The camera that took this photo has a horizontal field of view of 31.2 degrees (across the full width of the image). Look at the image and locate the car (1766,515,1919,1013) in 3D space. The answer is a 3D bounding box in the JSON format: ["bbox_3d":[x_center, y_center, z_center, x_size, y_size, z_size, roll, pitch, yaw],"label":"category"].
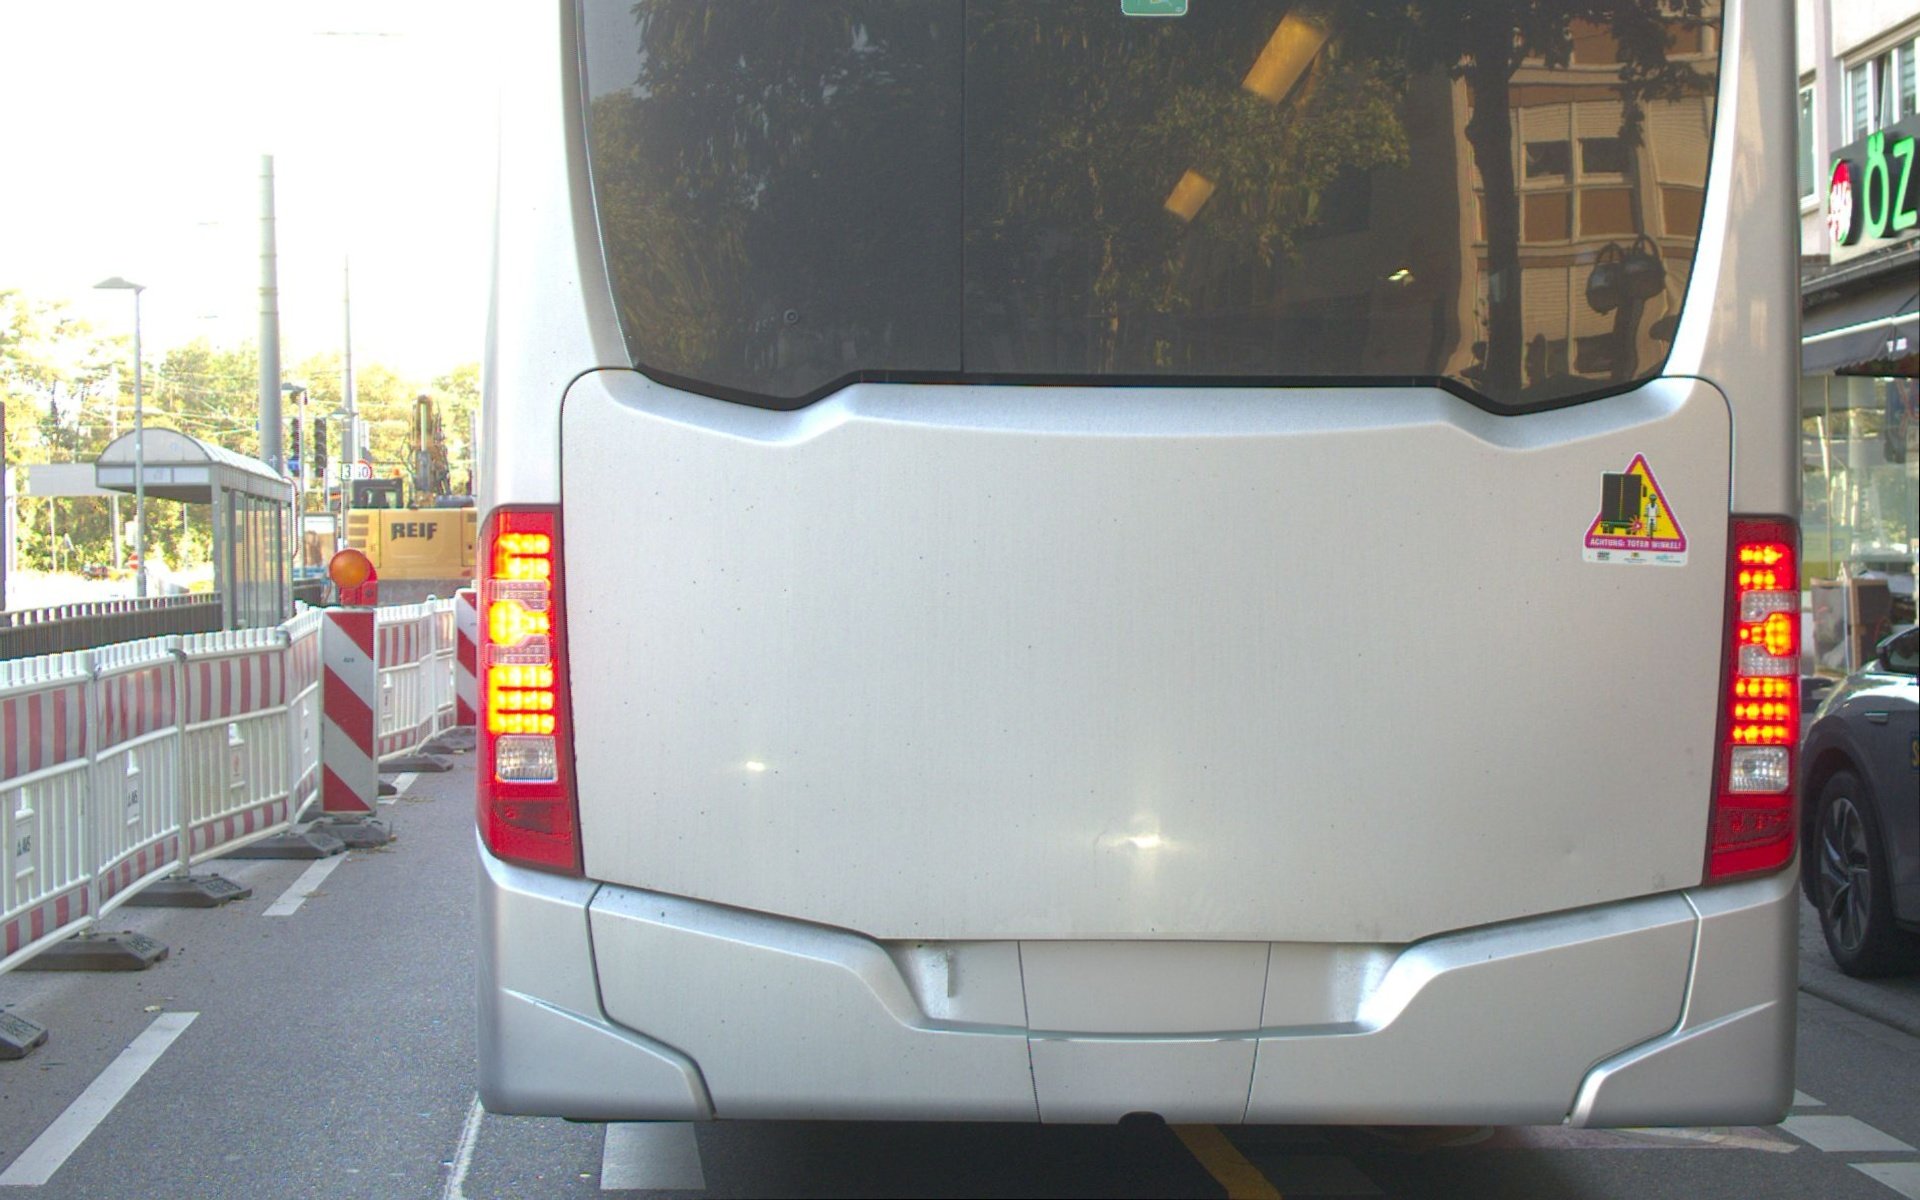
[{"bbox_3d":[3.995,0.500,10.300,1.739,1.592,4.300,-3,1,-5],"label":"car"}]

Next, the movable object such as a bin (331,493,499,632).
[{"bbox_3d":[-10.044,-0.704,63.668,2.806,2.453,4.001,-1,1,-5],"label":"movable object such as a bin"}]

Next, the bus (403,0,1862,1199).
[{"bbox_3d":[0.306,-0.306,11.300,2.608,3.159,10.292,0,1,0],"label":"bus"}]
